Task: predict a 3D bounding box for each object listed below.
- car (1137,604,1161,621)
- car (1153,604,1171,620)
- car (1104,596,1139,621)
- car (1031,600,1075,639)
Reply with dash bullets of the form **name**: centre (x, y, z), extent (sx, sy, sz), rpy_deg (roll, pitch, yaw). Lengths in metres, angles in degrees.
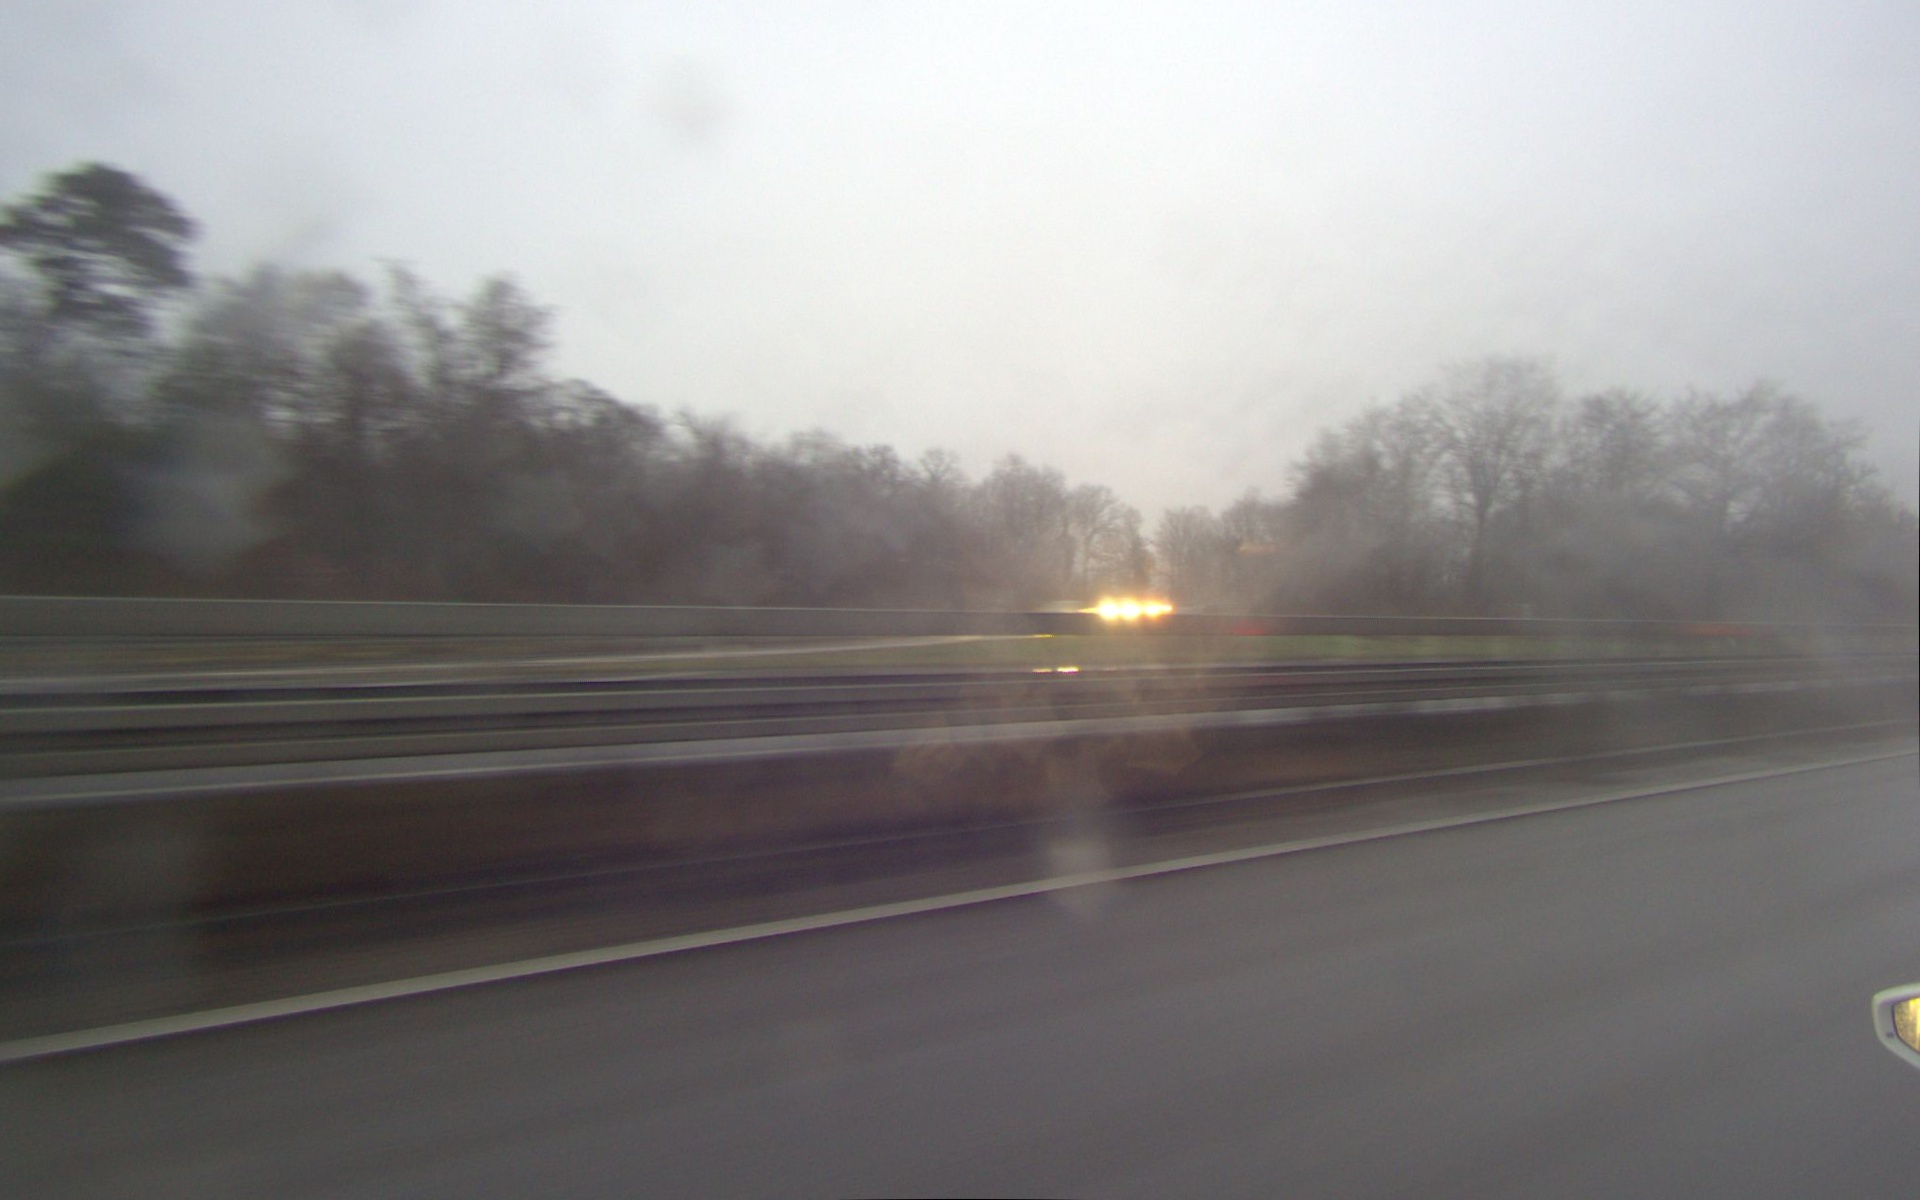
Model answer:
- **car**: centre (17.241, 1.179, 91.530), extent (1.705, 1.501, 3.865), rpy_deg (0, -1, 16)
- **car**: centre (22.761, 1.377, 113.210), extent (1.704, 1.807, 3.865), rpy_deg (0, -1, 15)
- **car**: centre (11.903, 0.600, 73.801), extent (1.960, 1.734, 4.001), rpy_deg (1, 0, 17)
- **car**: centre (5.088, 1.048, 54.795), extent (1.705, 2.040, 3.865), rpy_deg (0, -1, 16)
